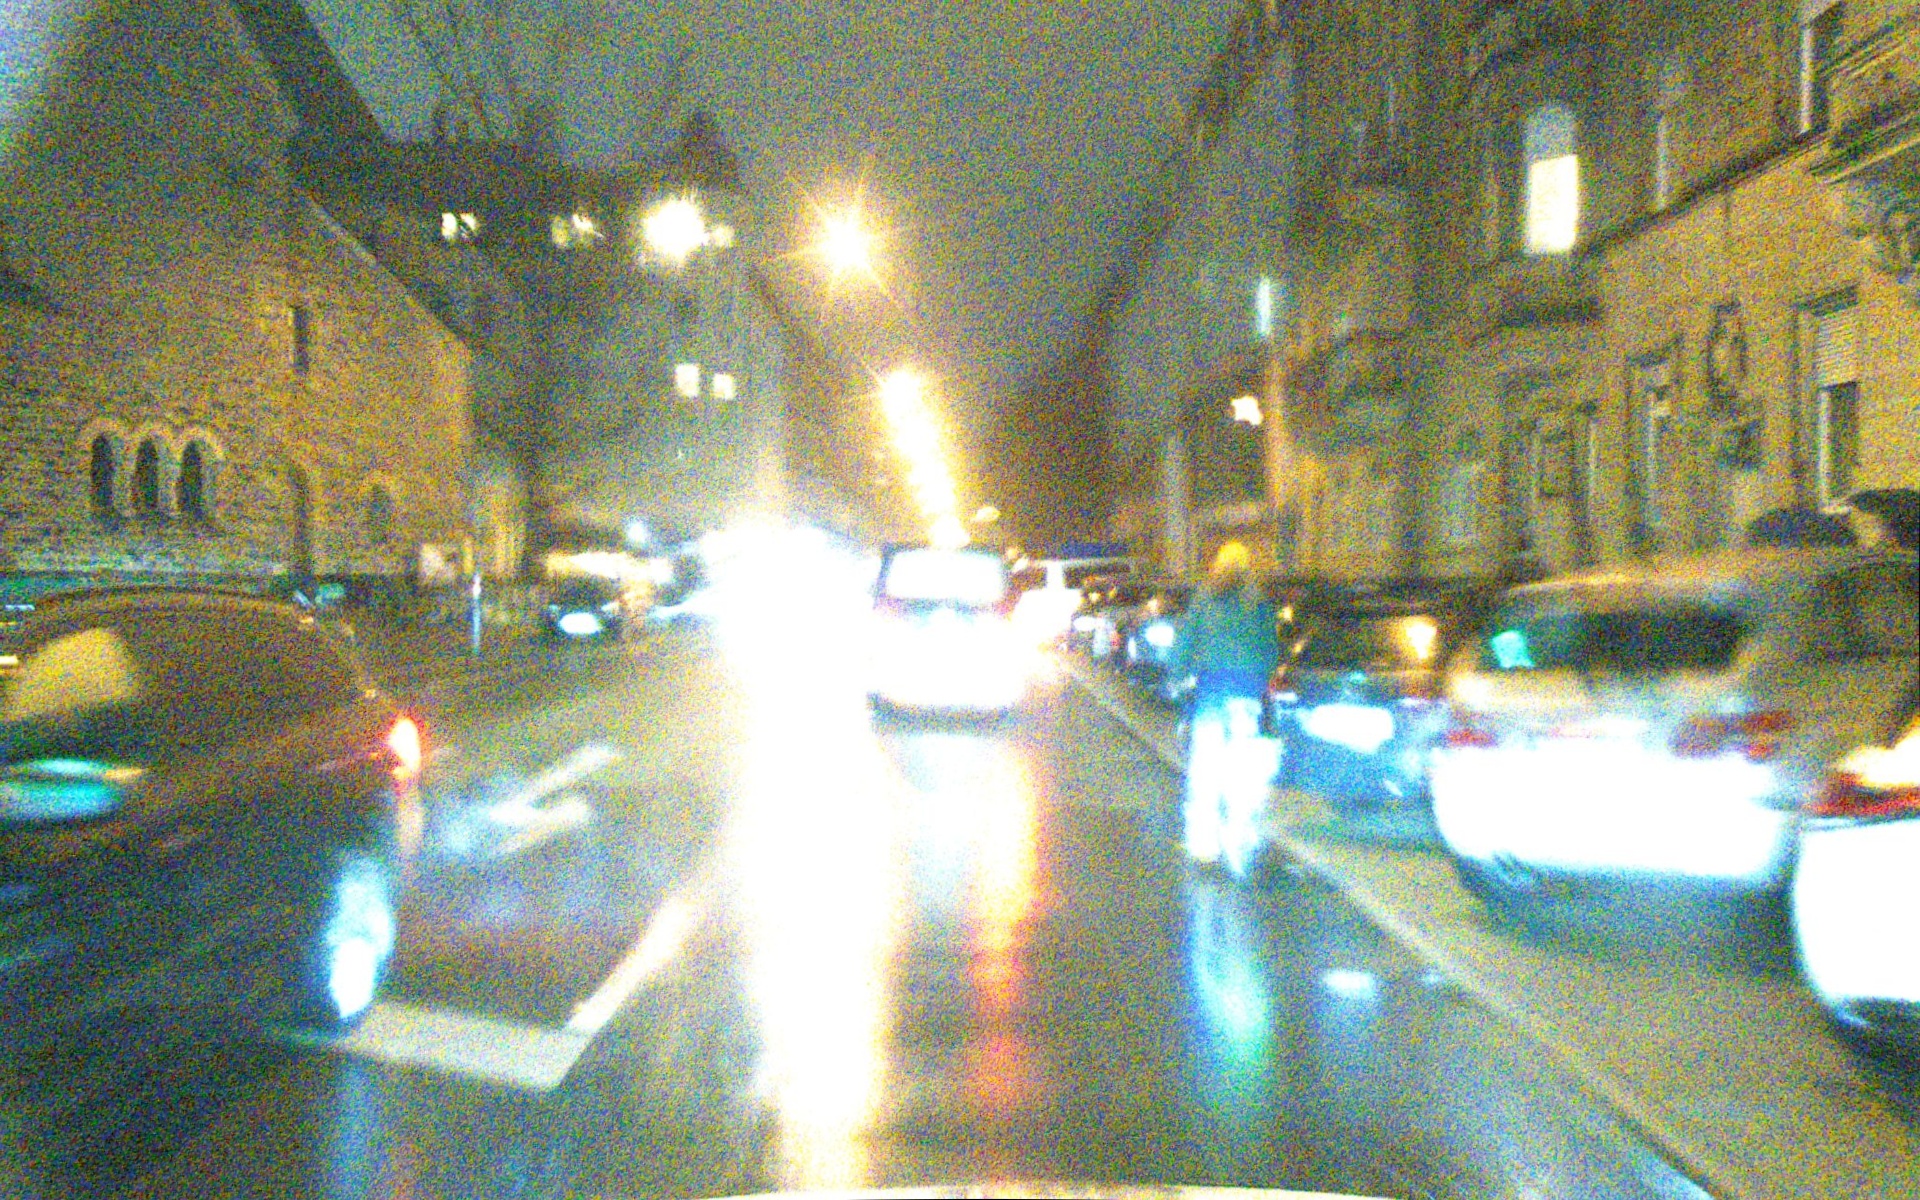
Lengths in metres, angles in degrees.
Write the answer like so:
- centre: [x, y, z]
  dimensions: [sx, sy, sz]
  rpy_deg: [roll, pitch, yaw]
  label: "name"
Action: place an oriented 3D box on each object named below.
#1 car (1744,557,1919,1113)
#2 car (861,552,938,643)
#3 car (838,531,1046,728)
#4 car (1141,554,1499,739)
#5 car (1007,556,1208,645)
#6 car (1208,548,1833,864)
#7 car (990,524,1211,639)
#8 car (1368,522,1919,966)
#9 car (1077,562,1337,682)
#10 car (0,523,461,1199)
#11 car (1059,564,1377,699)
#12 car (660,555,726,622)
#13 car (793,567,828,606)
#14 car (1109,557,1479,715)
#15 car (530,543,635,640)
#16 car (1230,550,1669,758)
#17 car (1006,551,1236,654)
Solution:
- centre: [4.465, 0.570, 5.384]
  dimensions: [4.144, 1.483, 1.832]
  rpy_deg: [-3, 2, -38]
  label: "car"
- centre: [-1.460, -0.093, 38.630]
  dimensions: [1.690, 2.006, 4.218]
  rpy_deg: [0, 1, -4]
  label: "car"
- centre: [-0.190, 0.265, 19.127]
  dimensions: [2.124, 2.006, 4.302]
  rpy_deg: [0, 1, 0]
  label: "car"
- centre: [3.937, 0.394, 17.690]
  dimensions: [4.150, 1.674, 1.637]
  rpy_deg: [-3, 2, -42]
  label: "car"
- centre: [3.124, -0.036, 34.611]
  dimensions: [4.144, 1.674, 1.746]
  rpy_deg: [-3, 2, -39]
  label: "car"
- centre: [3.736, 0.524, 10.761]
  dimensions: [4.136, 1.618, 1.711]
  rpy_deg: [-3, 2, -34]
  label: "car"
- centre: [3.284, -0.468, 38.057]
  dimensions: [4.960, 2.433, 2.110]
  rpy_deg: [-3, 2, -39]
  label: "car"
- centre: [4.039, 0.445, 8.042]
  dimensions: [4.144, 1.604, 1.856]
  rpy_deg: [-3, 2, -38]
  label: "car"
- centre: [3.990, 0.293, 26.368]
  dimensions: [4.144, 1.674, 1.746]
  rpy_deg: [-3, 2, -39]
  label: "car"
- centre: [-2.745, 0.629, 3.870]
  dimensions: [1.751, 1.581, 4.854]
  rpy_deg: [0, 1, -1]
  label: "car"
- centre: [3.638, 0.380, 23.351]
  dimensions: [4.112, 1.674, 1.759]
  rpy_deg: [-2, 2, -21]
  label: "car"
- centre: [-8.357, -0.372, 51.591]
  dimensions: [1.695, 2.006, 3.713]
  rpy_deg: [0, 1, -15]
  label: "car"
- centre: [-7.881, -0.746, 87.275]
  dimensions: [1.690, 2.006, 4.218]
  rpy_deg: [0, 1, -4]
  label: "car"
- centre: [4.056, 0.368, 20.102]
  dimensions: [4.112, 1.674, 1.759]
  rpy_deg: [-2, 2, -21]
  label: "car"
- centre: [-8.416, -0.218, 36.632]
  dimensions: [1.960, 2.006, 4.281]
  rpy_deg: [0, 1, -17]
  label: "car"
- centre: [4.376, 0.367, 14.478]
  dimensions: [4.145, 1.500, 1.639]
  rpy_deg: [-3, 2, -39]
  label: "car"
- centre: [2.980, 0.005, 30.128]
  dimensions: [4.144, 1.674, 1.746]
  rpy_deg: [-3, 2, -39]
  label: "car"
